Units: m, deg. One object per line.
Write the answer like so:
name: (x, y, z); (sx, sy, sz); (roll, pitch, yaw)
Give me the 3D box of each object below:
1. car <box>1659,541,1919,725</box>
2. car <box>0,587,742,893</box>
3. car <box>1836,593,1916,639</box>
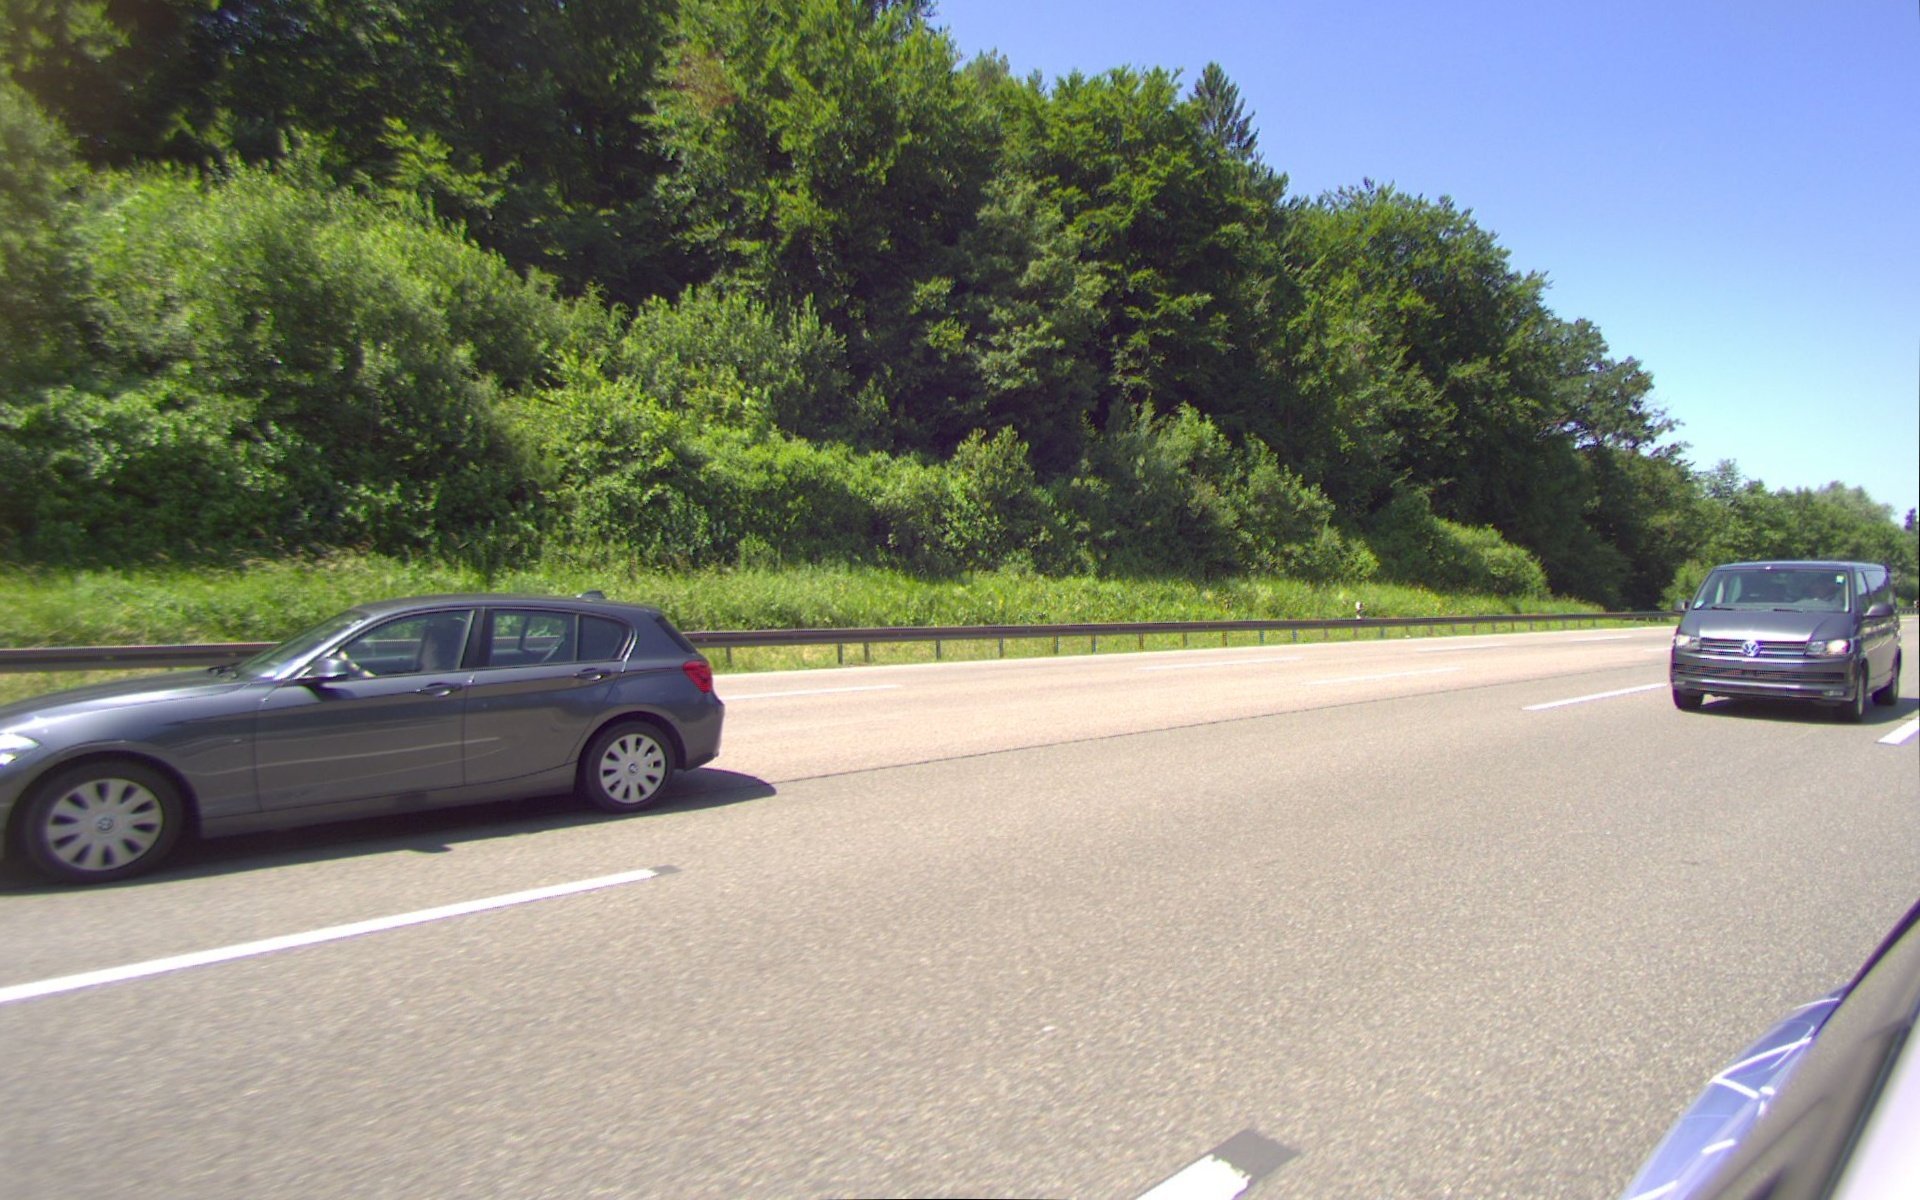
car: (11.432, 0.351, 13.732); (4.993, 2.059, 1.967); (0, 0, -40)
car: (-3.627, 0.625, 6.425); (4.078, 1.413, 1.706); (-1, 1, -39)
car: (33.259, 0.536, 36.694); (4.407, 1.538, 1.752); (0, 1, -42)
